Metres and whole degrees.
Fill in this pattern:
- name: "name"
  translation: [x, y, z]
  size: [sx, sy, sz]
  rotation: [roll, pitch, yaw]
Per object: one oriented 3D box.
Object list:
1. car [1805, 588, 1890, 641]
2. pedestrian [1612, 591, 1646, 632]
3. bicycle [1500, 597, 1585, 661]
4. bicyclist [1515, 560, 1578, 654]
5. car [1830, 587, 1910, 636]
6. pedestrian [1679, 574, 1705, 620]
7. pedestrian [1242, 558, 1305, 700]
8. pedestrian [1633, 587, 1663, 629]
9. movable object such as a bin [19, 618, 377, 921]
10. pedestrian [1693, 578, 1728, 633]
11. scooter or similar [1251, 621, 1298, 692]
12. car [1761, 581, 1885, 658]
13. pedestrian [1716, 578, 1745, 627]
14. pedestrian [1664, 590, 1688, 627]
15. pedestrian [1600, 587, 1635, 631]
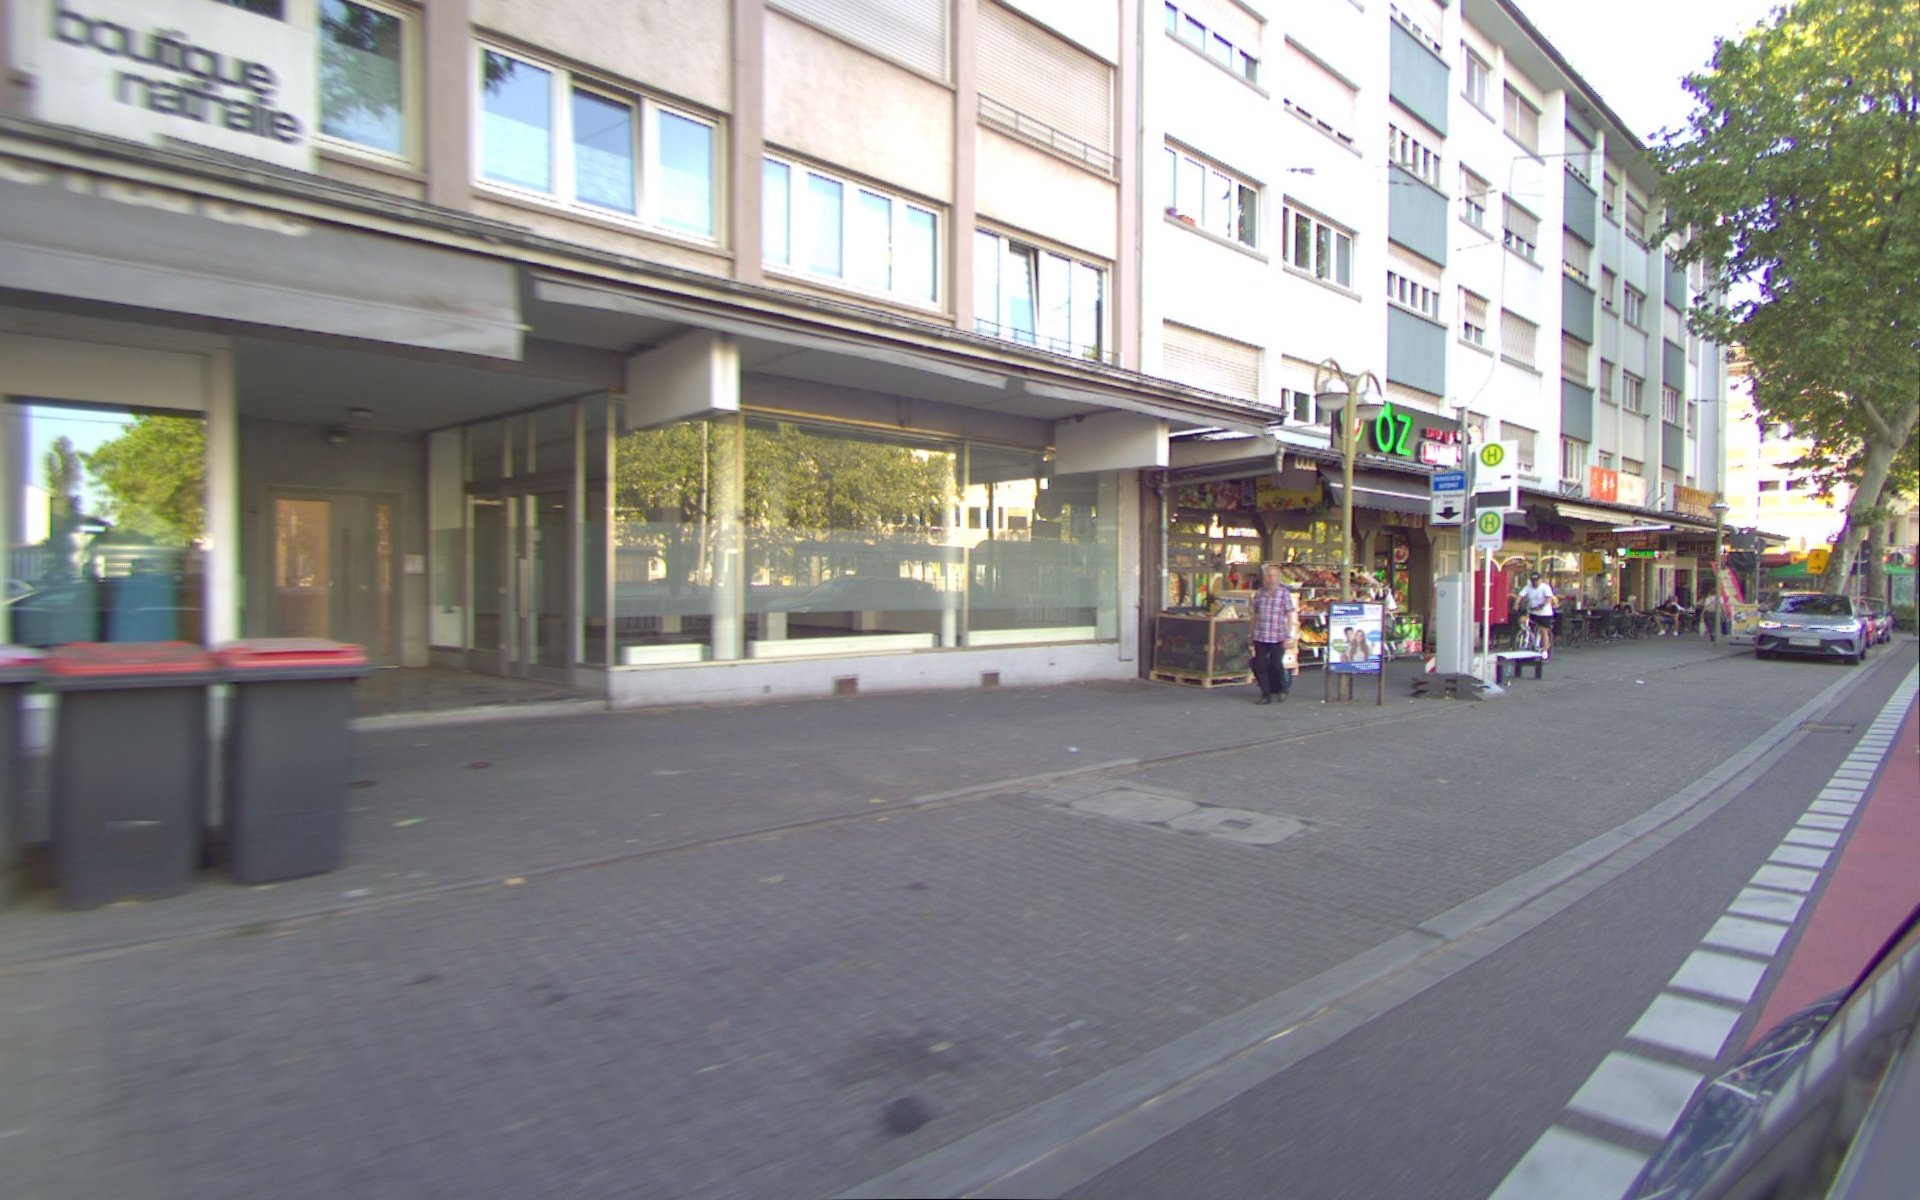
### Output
- name: "car"
  translation: [27.210, 0.396, 30.989]
  size: [1.731, 1.461, 3.920]
  rotation: [3, 2, 44]
- name: "pedestrian"
  translation: [19.993, 0.332, 30.229]
  size: [0.698, 1.191, 0.677]
  rotation: [0, 1, -43]
- name: "bicycle"
  translation: [11.234, 0.532, 19.491]
  size: [2.229, 1.117, 0.777]
  rotation: [0, 3, -44]
- name: "bicyclist"
  translation: [11.306, 0.117, 19.517]
  size: [0.816, 1.730, 0.770]
  rotation: [0, 3, -43]
- name: "car"
  translation: [30.483, 0.338, 33.868]
  size: [3.737, 1.497, 1.657]
  rotation: [0, 2, -43]
- name: "pedestrian"
  translation: [27.977, -0.130, 38.680]
  size: [0.667, 1.730, 0.708]
  rotation: [0, 1, -44]
- name: "pedestrian"
  translation: [3.862, 0.343, 12.460]
  size: [0.642, 1.694, 0.550]
  rotation: [0, 0, 30]
- name: "pedestrian"
  translation: [21.399, 0.230, 31.487]
  size: [0.596, 1.281, 0.645]
  rotation: [0, 1, -43]
- name: "movable object such as a bin"
  translation: [-3.373, 0.662, 4.525]
  size: [1.207, 1.088, 0.675]
  rotation: [0, 3, -43]
- name: "pedestrian"
  translation: [22.445, 0.163, 30.269]
  size: [0.667, 1.605, 0.709]
  rotation: [0, 2, -44]
- name: "scooter or similar"
  translation: [4.062, 0.719, 13.069]
  size: [0.569, 0.854, 0.729]
  rotation: [0, 1, 18]
- name: "car"
  translation: [20.618, 0.393, 24.112]
  size: [1.919, 1.617, 4.715]
  rotation: [3, 2, 44]
- name: "pedestrian"
  translation: [25.326, 0.084, 33.269]
  size: [0.631, 1.579, 0.584]
  rotation: [0, 3, -41]
- name: "pedestrian"
  translation: [23.084, 0.271, 32.644]
  size: [0.514, 1.148, 0.504]
  rotation: [1, 1, 26]
- name: "pedestrian"
  translation: [19.234, 0.256, 29.596]
  size: [0.698, 1.243, 0.677]
  rotation: [0, 1, -40]
